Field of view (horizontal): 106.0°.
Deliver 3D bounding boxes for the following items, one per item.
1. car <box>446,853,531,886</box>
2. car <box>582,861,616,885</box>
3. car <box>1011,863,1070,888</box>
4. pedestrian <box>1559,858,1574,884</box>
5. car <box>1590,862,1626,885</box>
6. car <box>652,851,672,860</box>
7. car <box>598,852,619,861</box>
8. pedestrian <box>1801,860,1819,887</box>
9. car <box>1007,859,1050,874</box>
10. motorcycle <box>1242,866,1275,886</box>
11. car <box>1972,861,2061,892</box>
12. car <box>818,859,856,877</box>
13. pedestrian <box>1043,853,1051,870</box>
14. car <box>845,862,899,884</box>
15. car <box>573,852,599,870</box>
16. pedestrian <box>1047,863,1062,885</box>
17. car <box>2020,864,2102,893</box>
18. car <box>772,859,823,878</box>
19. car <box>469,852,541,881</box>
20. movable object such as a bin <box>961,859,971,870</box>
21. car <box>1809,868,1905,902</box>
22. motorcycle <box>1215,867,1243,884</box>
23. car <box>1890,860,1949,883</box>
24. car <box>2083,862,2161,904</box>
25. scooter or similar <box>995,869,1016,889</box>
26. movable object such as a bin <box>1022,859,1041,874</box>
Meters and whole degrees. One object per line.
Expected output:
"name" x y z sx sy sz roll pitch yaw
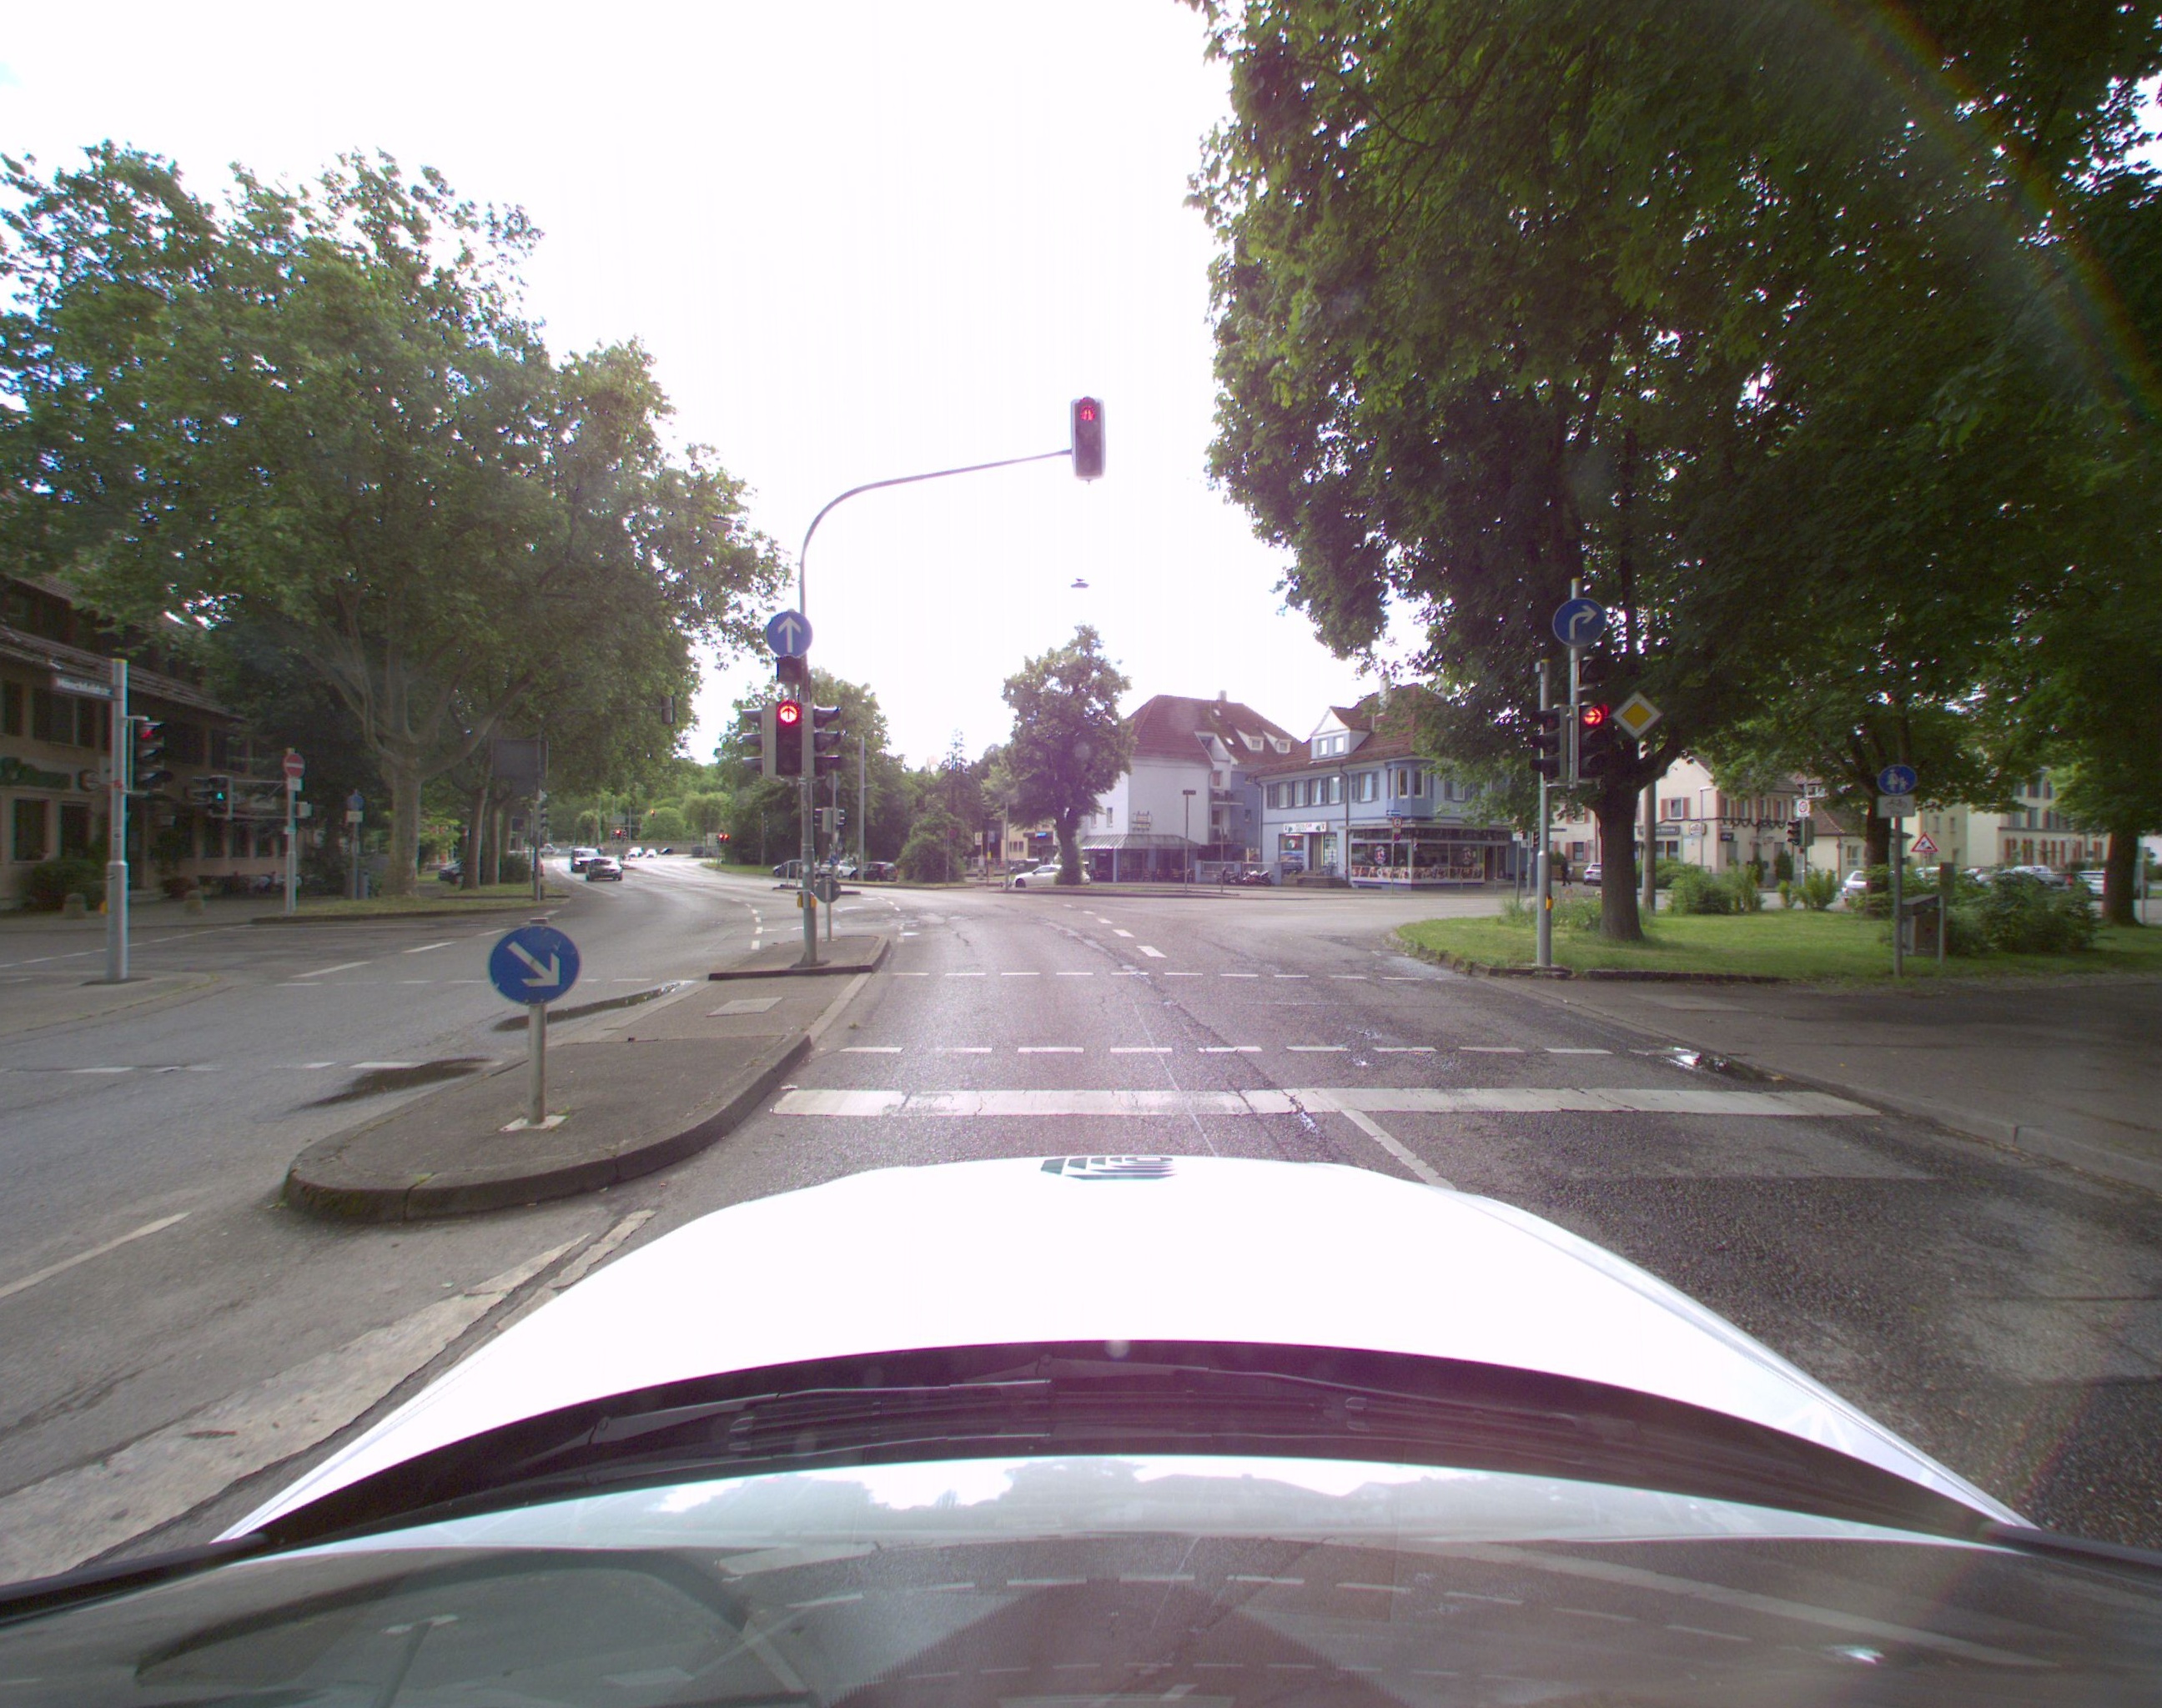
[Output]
"car" -31.003 0.785 42.709 3.461 1.641 1.557 0 -1 -31
"car" -30.560 1.199 51.638 1.440 1.416 2.838 0 -1 -39
"car" -2.310 1.201 46.231 3.134 1.354 1.448 0 -1 36
"pedestrian" 28.513 1.015 47.808 0.585 1.517 0.458 -1 -1 -10
"car" 32.601 1.181 50.333 1.481 1.369 3.198 -1 -1 40
"car" -95.502 0.409 185.594 4.011 2.014 1.981 0 -1 -29
"car" -106.181 0.468 183.018 4.011 2.014 1.981 0 -1 -29
"pedestrian" 44.160 1.171 49.331 0.611 1.649 0.606 0 -1 -27
"car" -4.883 1.128 76.148 3.752 1.345 1.422 0 0 -25
"motorcycle" 10.533 1.286 48.256 1.777 1.121 0.699 0 -1 40
"car" 42.214 0.975 36.745 3.510 1.321 1.549 0 0 -21
"car" -20.082 1.126 67.179 1.534 1.464 3.407 0 0 13
"pedestrian" -3.185 0.689 75.866 0.673 1.545 0.708 0 -1 2
"car" -13.909 1.265 54.197 3.549 1.394 1.481 0 -1 34
"car" -39.505 0.554 64.965 1.440 1.416 2.838 0 -1 -39
"pedestrian" -1.873 1.405 57.791 0.759 1.545 0.682 -1 -1 41
"car" 47.002 1.165 39.052 3.511 1.321 1.549 0 0 -22
"car" -22.440 1.110 64.477 3.520 1.464 1.591 0 0 14
"car" -35.486 0.757 50.275 3.461 1.742 1.557 0 -1 -31
"movable object such as a bin" -12.224 1.111 86.631 0.953 1.115 0.381 0 -1 -19
"car" 31.961 1.252 33.561 3.511 1.321 1.549 0 0 -22
"motorcycle" 9.112 1.312 50.070 0.699 1.064 1.617 0 -1 -44
"car" 55.114 1.122 53.523 4.007 1.420 1.544 0 0 -26
"car" 52.829 1.433 41.119 4.004 2.014 1.770 0 -1 -23
"scooter or similar" -3.979 1.290 42.874 0.413 1.011 1.575 -1 -1 22
"movable object such as a bin" -4.526 1.127 74.241 1.447 1.409 0.959 0 -1 -25
